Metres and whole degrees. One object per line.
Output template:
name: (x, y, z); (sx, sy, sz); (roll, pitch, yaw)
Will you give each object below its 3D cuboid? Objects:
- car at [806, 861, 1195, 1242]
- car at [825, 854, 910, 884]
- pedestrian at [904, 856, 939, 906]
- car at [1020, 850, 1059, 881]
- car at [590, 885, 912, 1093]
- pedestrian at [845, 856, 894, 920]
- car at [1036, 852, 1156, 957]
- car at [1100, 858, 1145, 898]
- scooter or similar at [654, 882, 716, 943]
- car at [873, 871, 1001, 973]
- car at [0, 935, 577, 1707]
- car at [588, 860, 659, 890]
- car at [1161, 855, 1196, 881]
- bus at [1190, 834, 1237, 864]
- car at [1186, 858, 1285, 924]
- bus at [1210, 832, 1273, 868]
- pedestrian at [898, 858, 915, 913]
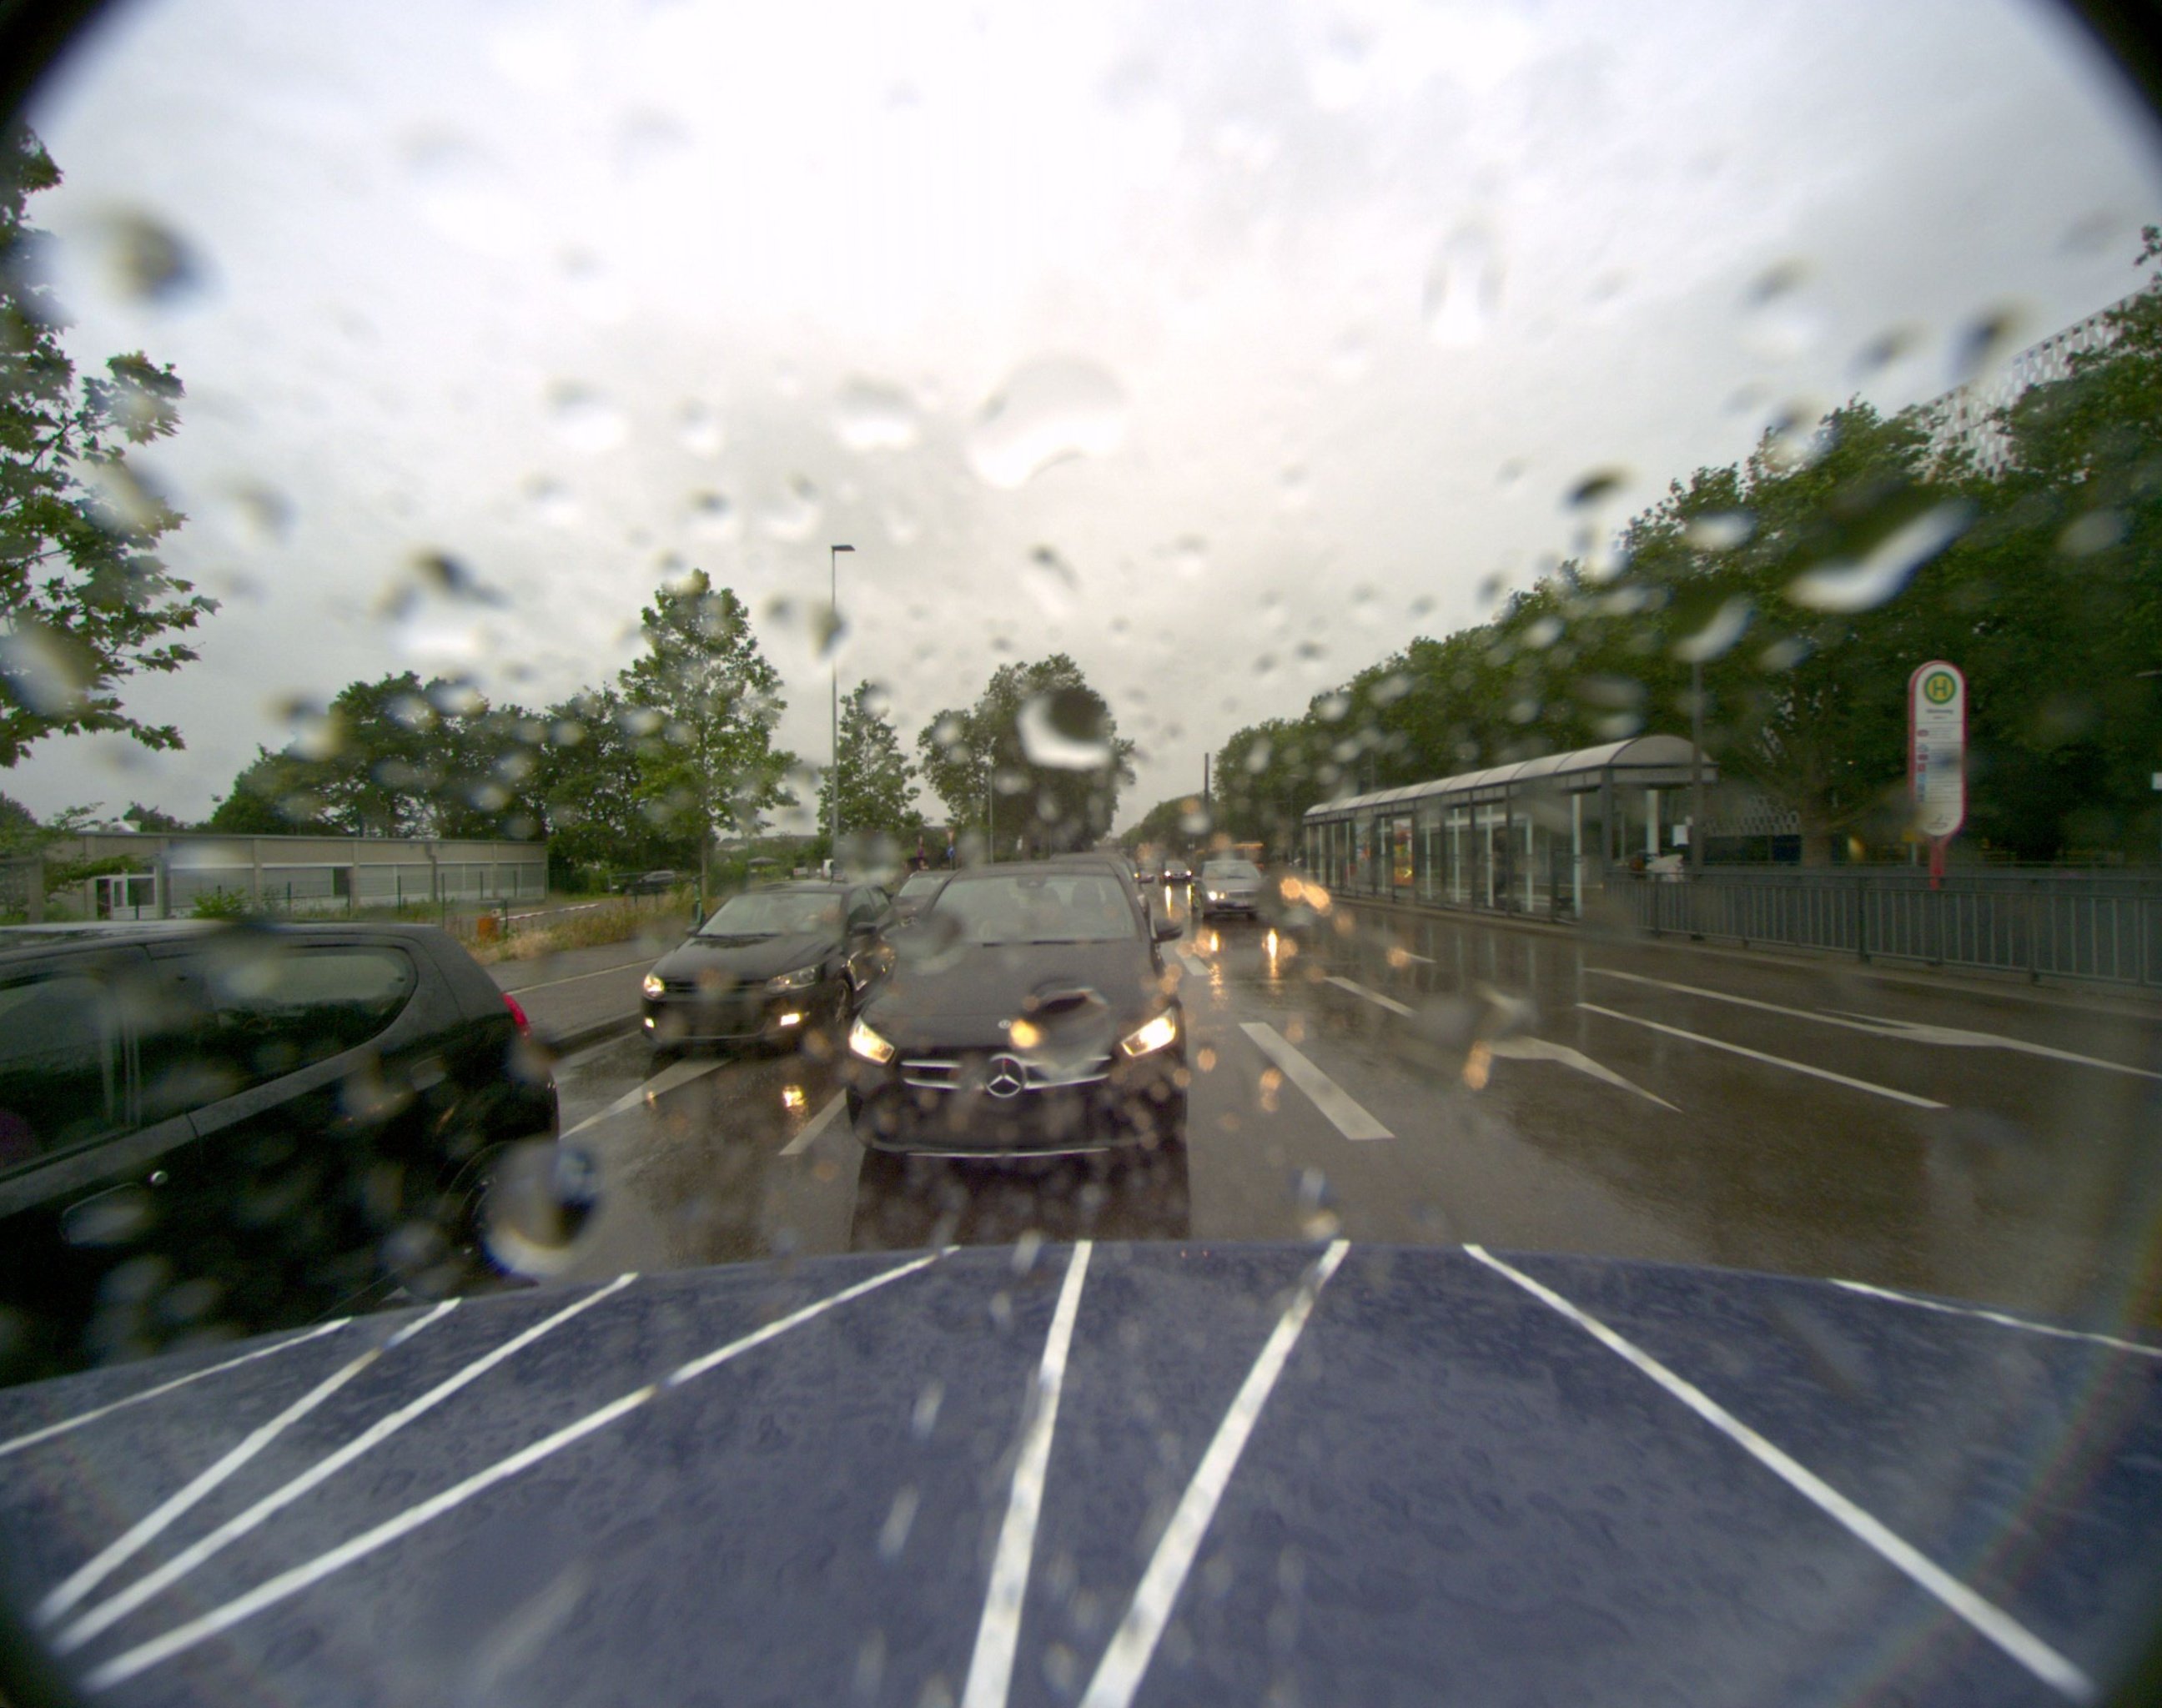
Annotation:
car: (-0.332, 0.913, 5.494); (1.690, 1.578, 4.163); (-2, 1, 1)
car: (-13.472, 0.920, 48.127); (4.759, 1.640, 1.999); (-2, 1, -2)
pedestrian: (-5.577, 0.920, 26.667); (1.025, 1.698, 0.891); (1, 1, 0)
car: (-2.064, 0.540, 38.906); (1.703, 1.461, 4.121); (-2, 1, 0)
car: (-2.949, 1.116, 7.687); (1.633, 1.420, 3.624); (-2, 0, 0)
pedestrian: (-5.868, 0.930, 21.153); (1.082, 1.746, 0.969); (0, 1, 0)
car: (0.206, 0.725, 12.544); (1.633, 1.420, 3.624); (-2, 0, 0)
car: (1.854, 1.046, 35.046); (1.794, 1.597, 3.999); (-2, 1, 0)
scooter or similar: (-8.208, 1.185, 15.820); (0.381, 1.123, 1.777); (0, 1, -1)
car: (-2.680, 1.212, 14.977); (1.698, 1.565, 3.813); (-2, 1, 1)
car: (-3.007, 1.081, 1.450); (1.633, 1.420, 3.624); (-2, 0, 0)
car: (-33.962, 1.521, 56.530); (3.996, 2.002, 2.000); (-2, 1, 2)
car: (6.268, 0.850, 49.326); (1.775, 1.492, 4.597); (-2, 1, 2)
bus: (15.960, -0.641, 93.136); (2.938, 3.310, 15.060); (-2, 1, 0)
car: (3.861, 0.860, 19.768); (1.766, 1.390, 4.645); (-2, 0, 2)
bus: (16.155, -0.455, 78.031); (2.939, 3.310, 15.060); (-2, 1, -1)
pedestrian: (-5.363, 0.969, 23.367); (0.401, 1.652, 0.441); (1, 1, 0)
